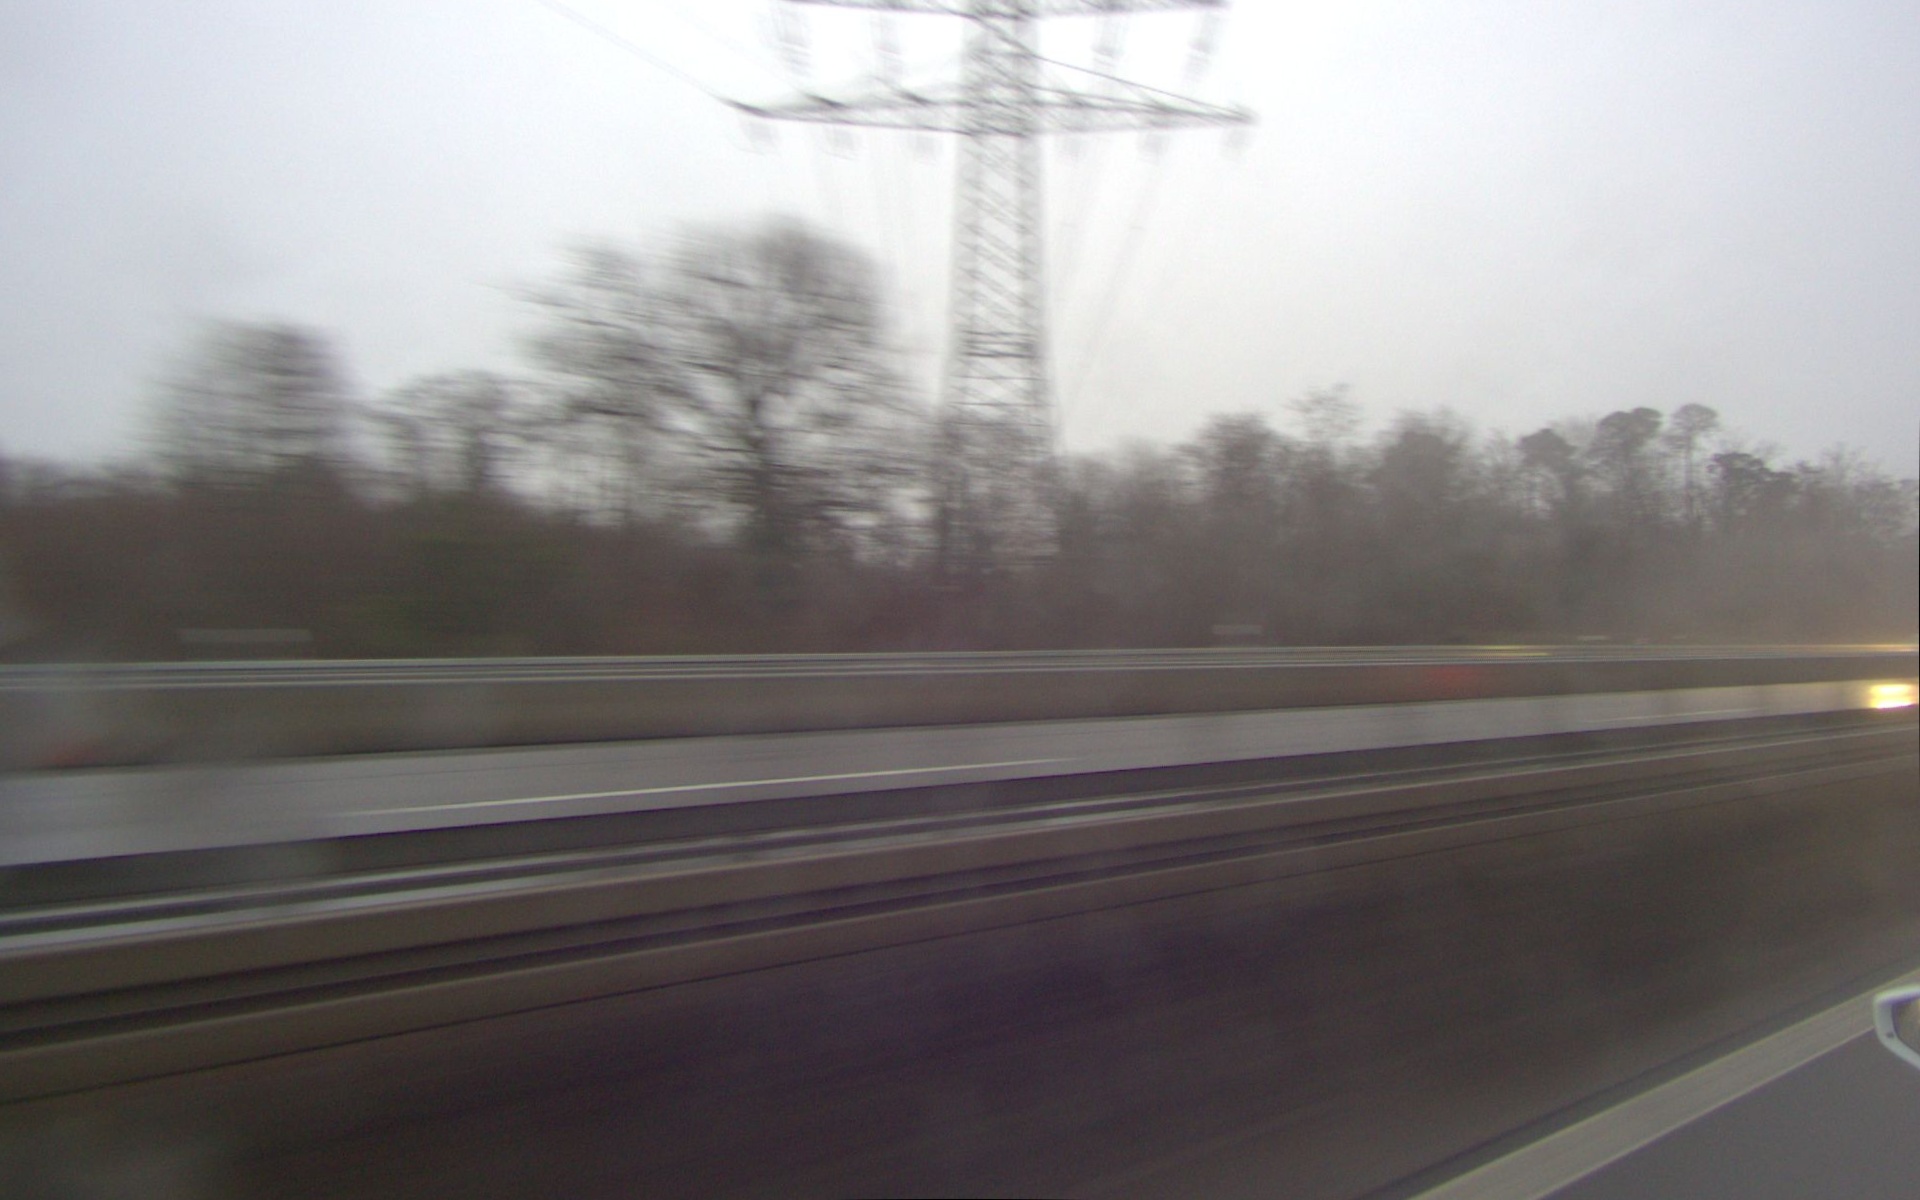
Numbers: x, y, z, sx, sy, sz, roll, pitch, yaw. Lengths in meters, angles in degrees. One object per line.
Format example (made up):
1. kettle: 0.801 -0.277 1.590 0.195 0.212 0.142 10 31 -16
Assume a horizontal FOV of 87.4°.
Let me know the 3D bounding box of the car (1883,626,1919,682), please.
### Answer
1. car: 29.495 1.593 29.806 4.697 1.592 1.788 1 0 -30
